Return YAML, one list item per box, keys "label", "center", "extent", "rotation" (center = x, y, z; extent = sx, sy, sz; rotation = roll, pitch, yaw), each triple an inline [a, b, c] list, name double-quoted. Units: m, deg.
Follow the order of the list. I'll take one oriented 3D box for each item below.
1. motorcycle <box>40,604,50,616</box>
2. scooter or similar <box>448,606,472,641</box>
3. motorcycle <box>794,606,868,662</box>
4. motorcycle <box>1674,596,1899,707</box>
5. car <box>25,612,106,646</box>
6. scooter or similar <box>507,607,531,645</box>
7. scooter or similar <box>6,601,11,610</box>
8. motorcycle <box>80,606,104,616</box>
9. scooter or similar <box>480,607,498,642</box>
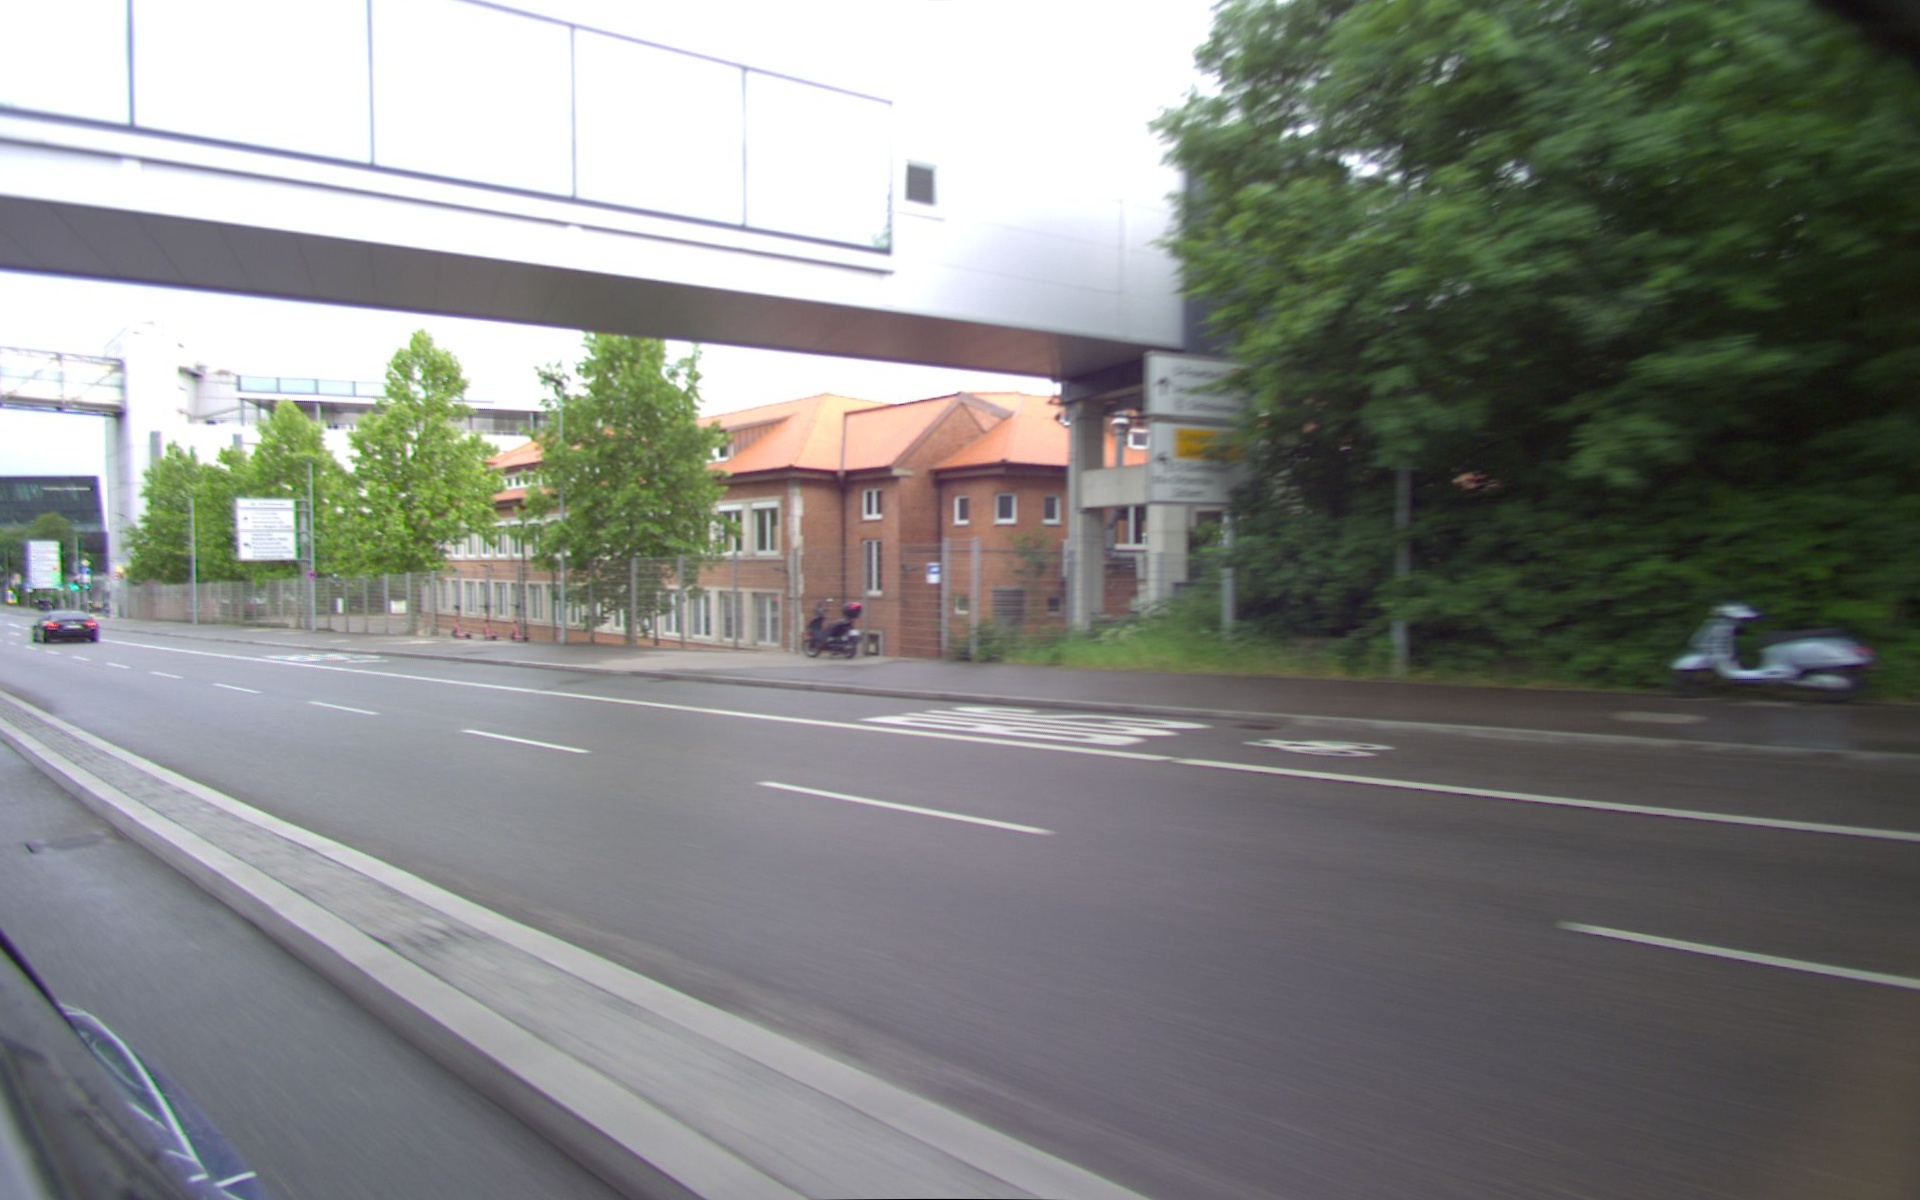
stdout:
- label: "motorcycle"
  center: [-99.379, 1.078, 109.937]
  extent: [2.038, 1.171, 0.561]
  rotation: [0, 1, 41]
- label: "scooter or similar"
  center: [-18.313, 0.858, 37.070]
  extent: [1.307, 1.227, 0.308]
  rotation: [-1, 0, 43]
- label: "motorcycle"
  center: [-2.944, 0.765, 22.977]
  extent: [1.996, 1.214, 0.463]
  rotation: [-1, 0, 42]
- label: "motorcycle"
  center: [9.396, 0.564, 11.579]
  extent: [0.463, 1.167, 1.933]
  rotation: [-1, 0, -44]
- label: "car"
  center: [-39.347, 1.241, 44.486]
  extent: [4.754, 1.372, 2.042]
  rotation: [-1, 0, 41]
- label: "scooter or similar"
  center: [-14.696, 0.864, 33.731]
  extent: [0.307, 1.227, 1.309]
  rotation: [-1, 0, -43]
- label: "scooter or similar"
  center: [-125.322, 0.701, 133.295]
  extent: [1.569, 1.138, 0.389]
  rotation: [1, 1, 43]
- label: "motorcycle"
  center: [-89.546, 1.117, 104.375]
  extent: [2.145, 1.035, 0.625]
  rotation: [0, 1, 8]
- label: "scooter or similar"
  center: [-16.476, 0.847, 35.372]
  extent: [0.307, 1.227, 1.311]
  rotation: [-1, 0, -36]
